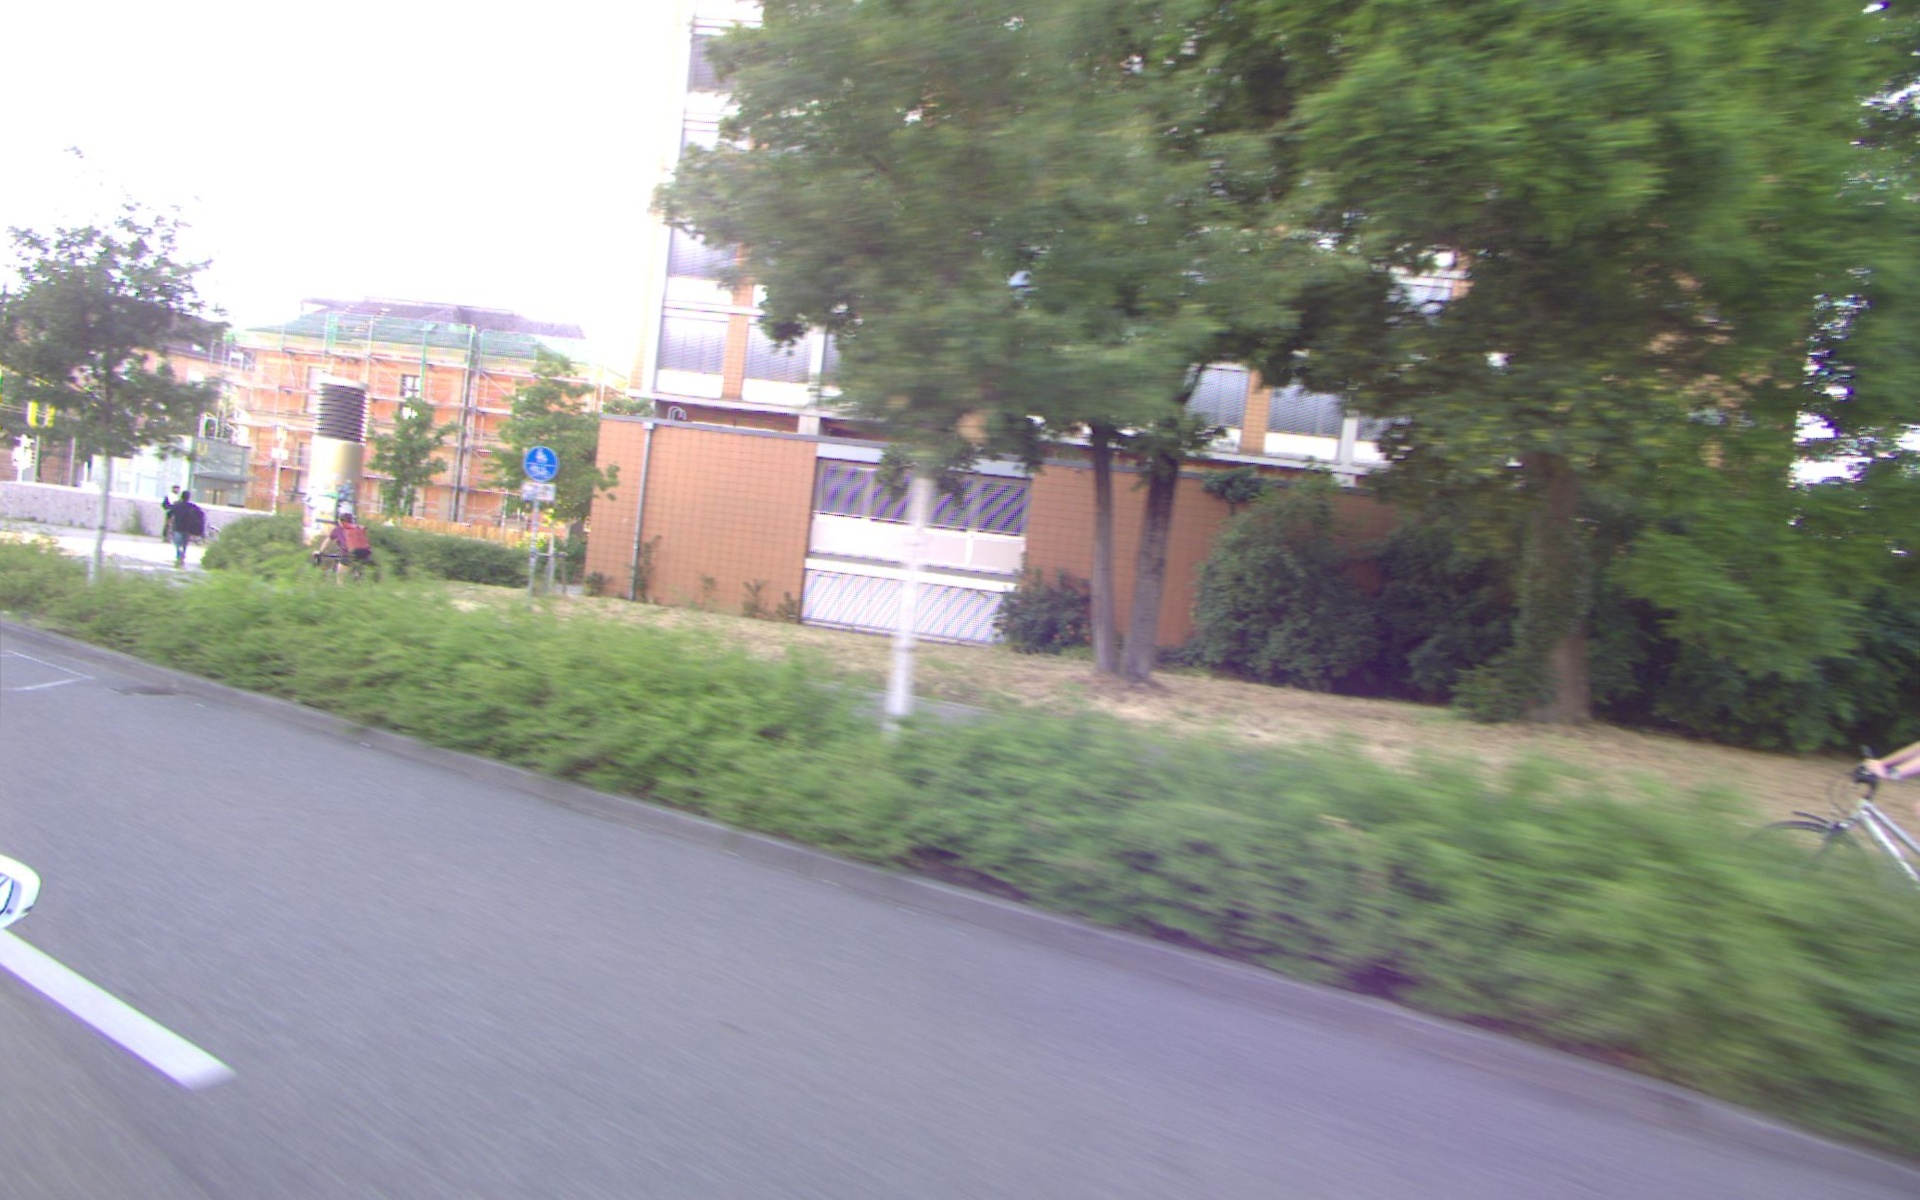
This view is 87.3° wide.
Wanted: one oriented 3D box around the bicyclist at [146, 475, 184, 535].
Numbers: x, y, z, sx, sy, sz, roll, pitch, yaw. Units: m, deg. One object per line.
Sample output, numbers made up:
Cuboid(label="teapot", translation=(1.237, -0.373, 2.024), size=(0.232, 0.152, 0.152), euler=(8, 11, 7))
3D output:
Cuboid(label="bicyclist", translation=(-25.496, -3.026, 32.259), size=(0.784, 1.810, 0.882), euler=(3, 3, -44))

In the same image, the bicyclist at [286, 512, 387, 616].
Cuboid(label="bicyclist", translation=(-9.342, -0.536, 15.079), size=(1.057, 1.401, 0.721), euler=(6, -1, 27))

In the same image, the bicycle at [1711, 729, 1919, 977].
Cuboid(label="bicycle", translation=(5.770, 1.536, 5.671), size=(0.774, 1.172, 2.263), euler=(2, 4, -43))

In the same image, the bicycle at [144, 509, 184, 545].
Cuboid(label="bicycle", translation=(-25.585, -2.353, 32.324), size=(0.786, 1.052, 1.938), euler=(3, 2, -44))

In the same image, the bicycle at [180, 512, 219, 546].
Cuboid(label="bicycle", translation=(-25.066, -2.329, 33.179), size=(0.620, 1.052, 1.949), euler=(4, 1, -27))

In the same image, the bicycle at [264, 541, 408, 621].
Cuboid(label="bicycle", translation=(-9.361, -0.296, 15.075), size=(2.210, 0.964, 0.721), euler=(6, -1, 27))

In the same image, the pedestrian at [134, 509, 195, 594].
Cuboid(label="pedestrian", translation=(-17.084, -1.043, 21.619), size=(0.801, 1.678, 0.782), euler=(8, -1, -36))

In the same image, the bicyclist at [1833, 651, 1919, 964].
Cuboid(label="bicyclist", translation=(5.794, 1.204, 5.668), size=(0.774, 1.700, 1.079), euler=(2, 4, -43))
